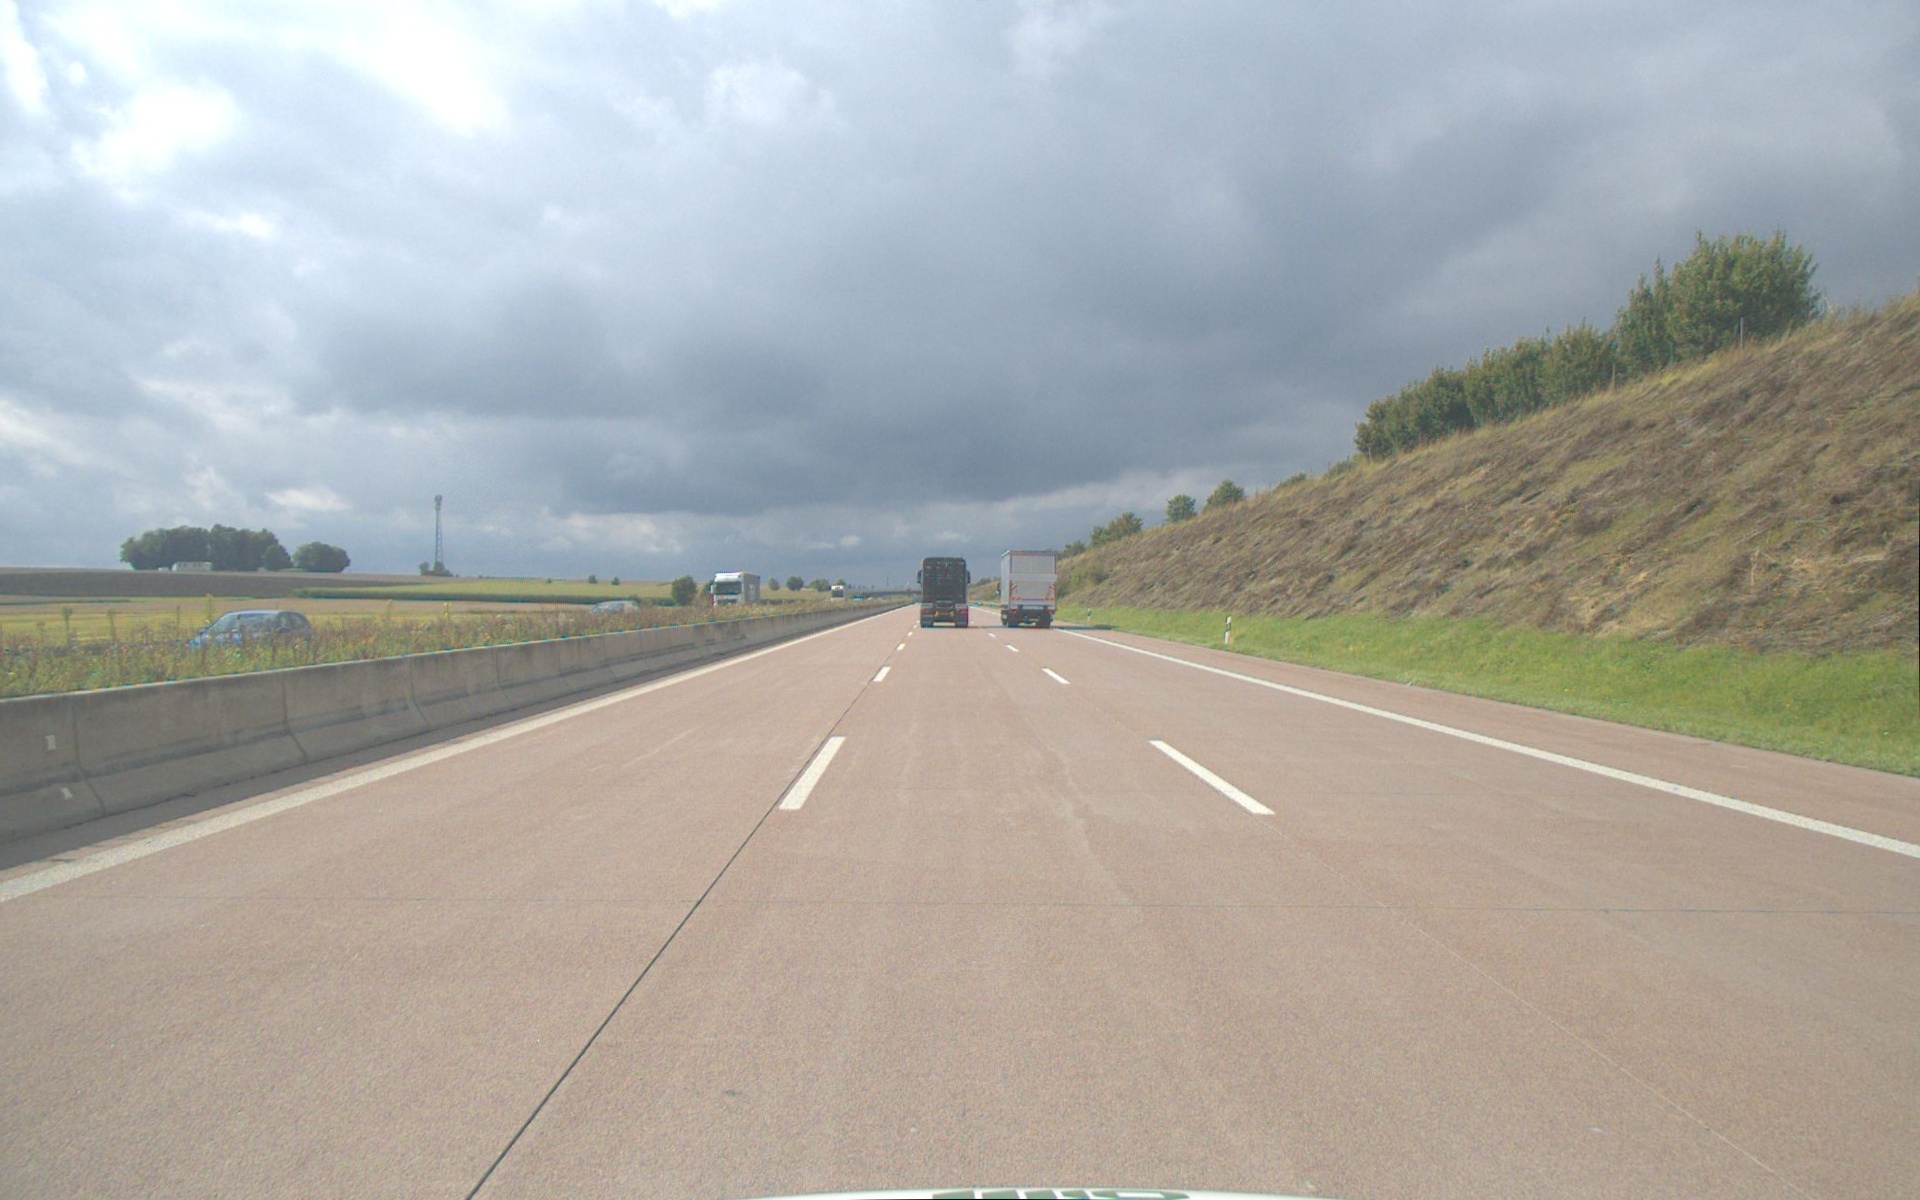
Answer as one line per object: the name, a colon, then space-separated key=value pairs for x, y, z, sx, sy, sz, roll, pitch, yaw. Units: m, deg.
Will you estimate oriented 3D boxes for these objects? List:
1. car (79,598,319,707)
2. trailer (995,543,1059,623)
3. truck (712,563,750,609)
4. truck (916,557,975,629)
car: x=-14.637 y=0.922 z=32.311 sx=1.953 sy=1.878 sz=6.101 roll=-1 pitch=0 yaw=-1
trailer: x=3.526 y=-0.863 z=89.518 sx=2.692 sy=4.082 sz=8.665 roll=1 pitch=0 yaw=-3
truck: x=-20.462 y=-1.256 z=148.103 sx=2.714 sy=4.028 sz=5.288 roll=-1 pitch=0 yaw=-2
truck: x=-0.834 y=-0.332 z=87.272 sx=2.790 sy=3.612 sz=8.315 roll=1 pitch=0 yaw=-2
